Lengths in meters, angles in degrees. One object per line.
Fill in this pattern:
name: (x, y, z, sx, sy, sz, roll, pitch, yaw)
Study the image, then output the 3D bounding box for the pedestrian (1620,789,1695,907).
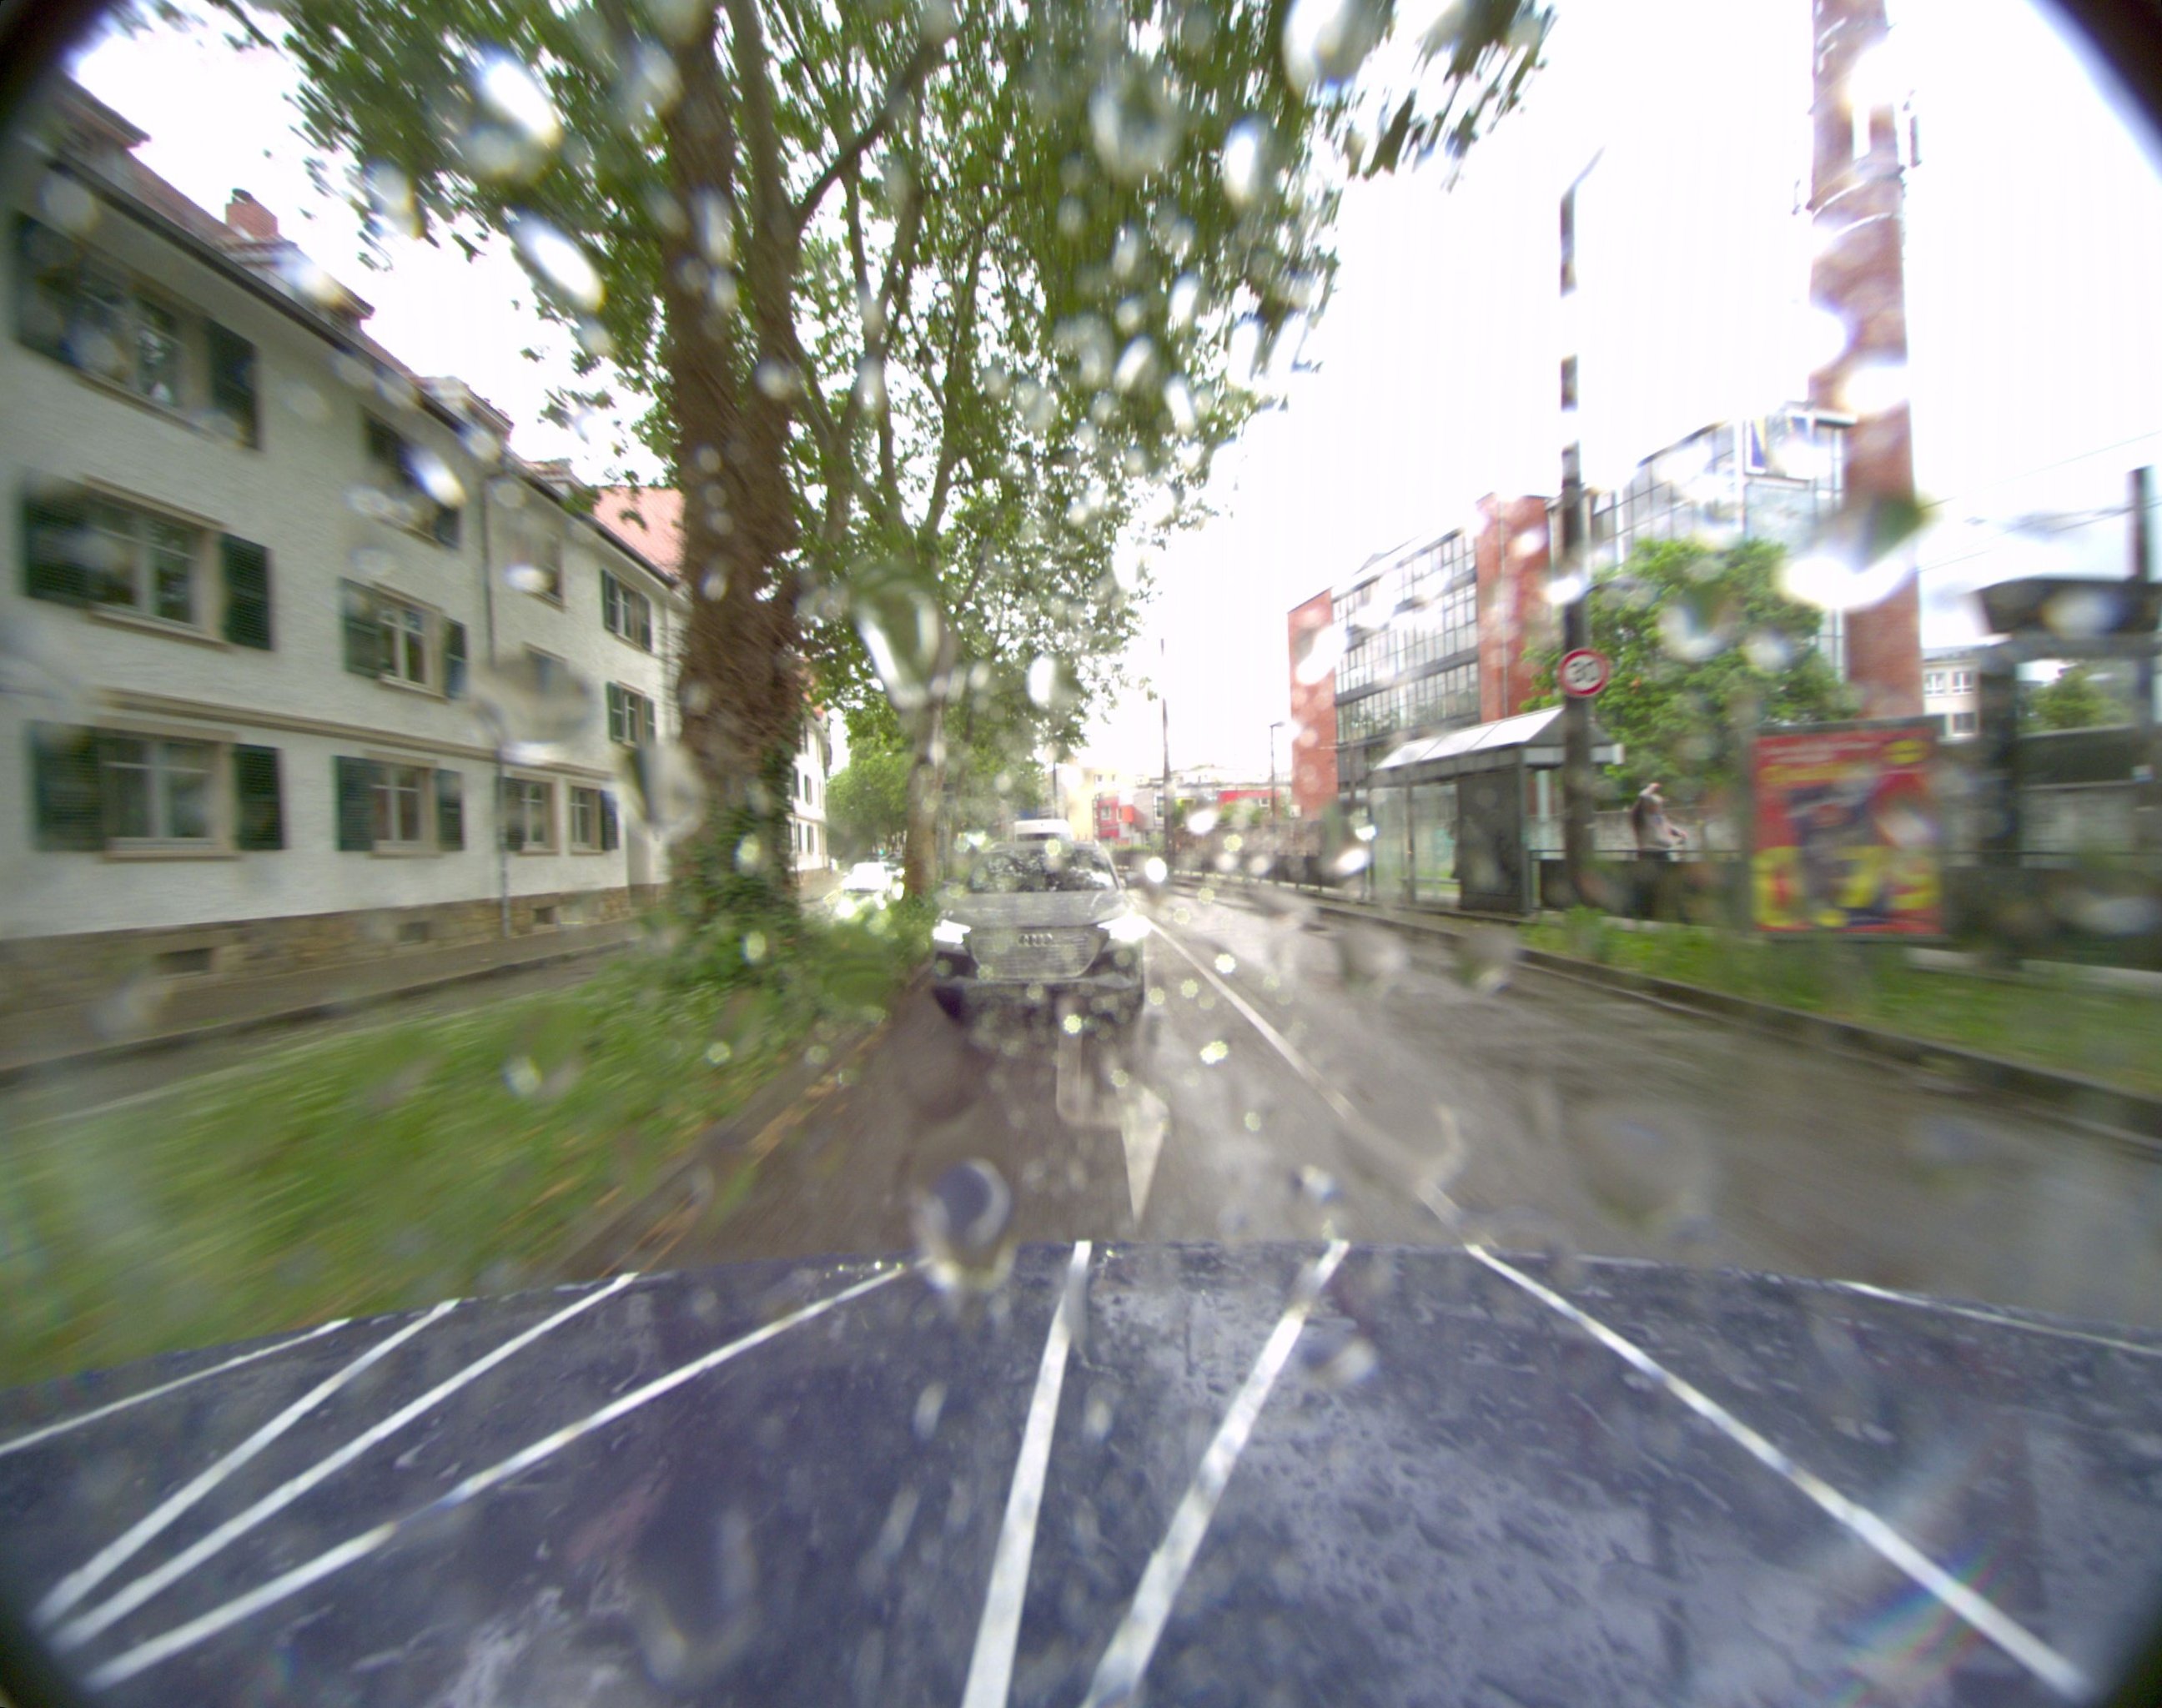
pedestrian: (8.038, -0.090, 10.601, 0.715, 1.594, 0.494, -2, 2, -16)

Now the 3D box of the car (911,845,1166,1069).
car: (-0.399, 0.772, 7.924, 1.917, 1.632, 4.105, -2, 1, -2)

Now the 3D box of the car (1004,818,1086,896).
car: (-1.340, 0.052, 25.515, 2.196, 2.250, 5.407, -2, 1, -8)

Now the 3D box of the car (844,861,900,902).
car: (-9.070, 1.145, 33.271, 1.832, 1.517, 3.996, -2, 1, -8)

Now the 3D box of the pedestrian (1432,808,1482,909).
pedestrian: (6.691, 0.080, 13.543, 0.629, 1.739, 0.564, -2, 2, 8)

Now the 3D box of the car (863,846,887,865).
car: (-22.304, 0.134, 82.114, 2.002, 2.002, 3.992, 3, 0, -21)

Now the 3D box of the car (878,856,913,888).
car: (-12.638, 1.206, 51.589, 2.002, 2.002, 3.994, 3, 0, -17)

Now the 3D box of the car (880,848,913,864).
car: (-23.819, 0.253, 97.950, 4.002, 2.002, 1.997, -2, 1, -17)
